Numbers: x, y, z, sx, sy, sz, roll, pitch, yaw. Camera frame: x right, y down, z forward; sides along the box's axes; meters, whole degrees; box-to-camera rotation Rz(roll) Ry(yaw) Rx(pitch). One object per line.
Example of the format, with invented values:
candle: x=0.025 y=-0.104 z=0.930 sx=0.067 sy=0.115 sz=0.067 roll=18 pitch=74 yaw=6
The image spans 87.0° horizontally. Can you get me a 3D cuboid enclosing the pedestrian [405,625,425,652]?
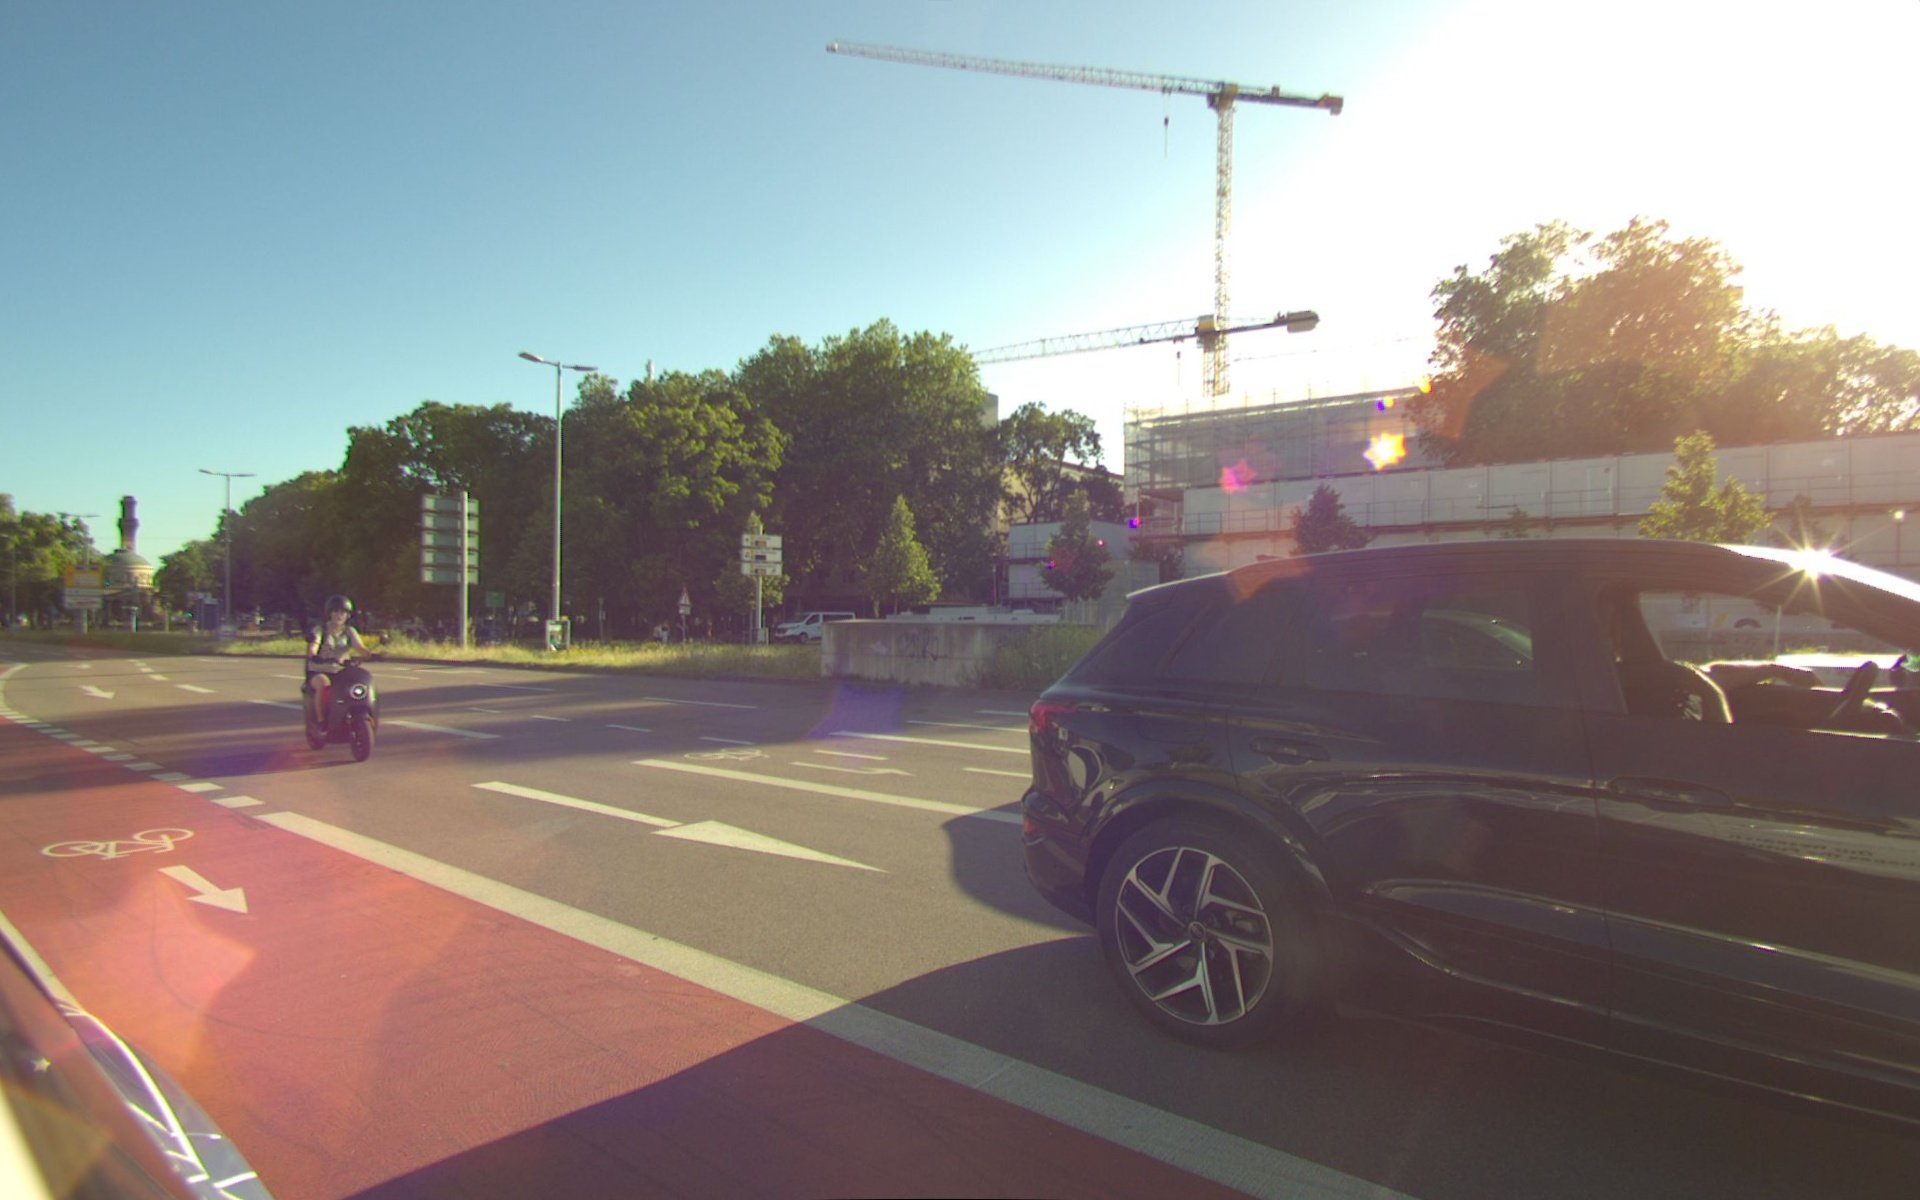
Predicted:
pedestrian: x=-41.355 y=2.929 z=76.790 sx=1.054 sy=1.978 sz=0.942 roll=-1 pitch=0 yaw=26

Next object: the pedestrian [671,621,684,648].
pedestrian: x=-15.887 y=1.947 z=56.973 sx=0.494 sy=1.522 sz=0.492 roll=-1 pitch=-2 yaw=41

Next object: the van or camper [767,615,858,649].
van or camper: x=-8.959 y=1.933 z=61.887 sx=1.951 sy=1.960 sz=5.425 roll=-2 pitch=-2 yaw=44

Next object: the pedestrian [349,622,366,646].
pedestrian: x=-50.458 y=2.832 z=84.741 sx=0.945 sy=2.029 sz=0.839 roll=-1 pitch=0 yaw=5

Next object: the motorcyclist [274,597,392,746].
motorcyclist: x=-6.577 y=0.717 z=10.619 sx=0.877 sy=1.475 sz=0.813 roll=-1 pitch=-2 yaw=41

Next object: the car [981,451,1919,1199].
car: x=2.550 y=0.550 z=3.194 sx=4.660 sy=1.720 sz=2.144 roll=-1 pitch=-1 yaw=39

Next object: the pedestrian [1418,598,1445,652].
pedestrian: x=14.288 y=0.748 z=30.681 sx=0.597 sy=1.614 sz=0.580 roll=-1 pitch=0 yaw=38

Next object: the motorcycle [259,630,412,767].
motorcycle: x=-6.541 y=0.965 z=10.560 sx=1.943 sy=1.290 sz=0.817 roll=-1 pitch=-2 yaw=41

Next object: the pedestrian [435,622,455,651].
pedestrian: x=-37.260 y=2.632 z=73.222 sx=0.815 sy=1.978 sz=1.111 roll=-1 pitch=0 yaw=41

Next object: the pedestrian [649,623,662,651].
pedestrian: x=-16.700 y=2.040 z=55.461 sx=0.494 sy=1.522 sz=0.492 roll=-1 pitch=-2 yaw=41

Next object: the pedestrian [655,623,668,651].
pedestrian: x=-16.494 y=2.037 z=55.928 sx=0.494 sy=1.522 sz=0.492 roll=-1 pitch=-2 yaw=41
